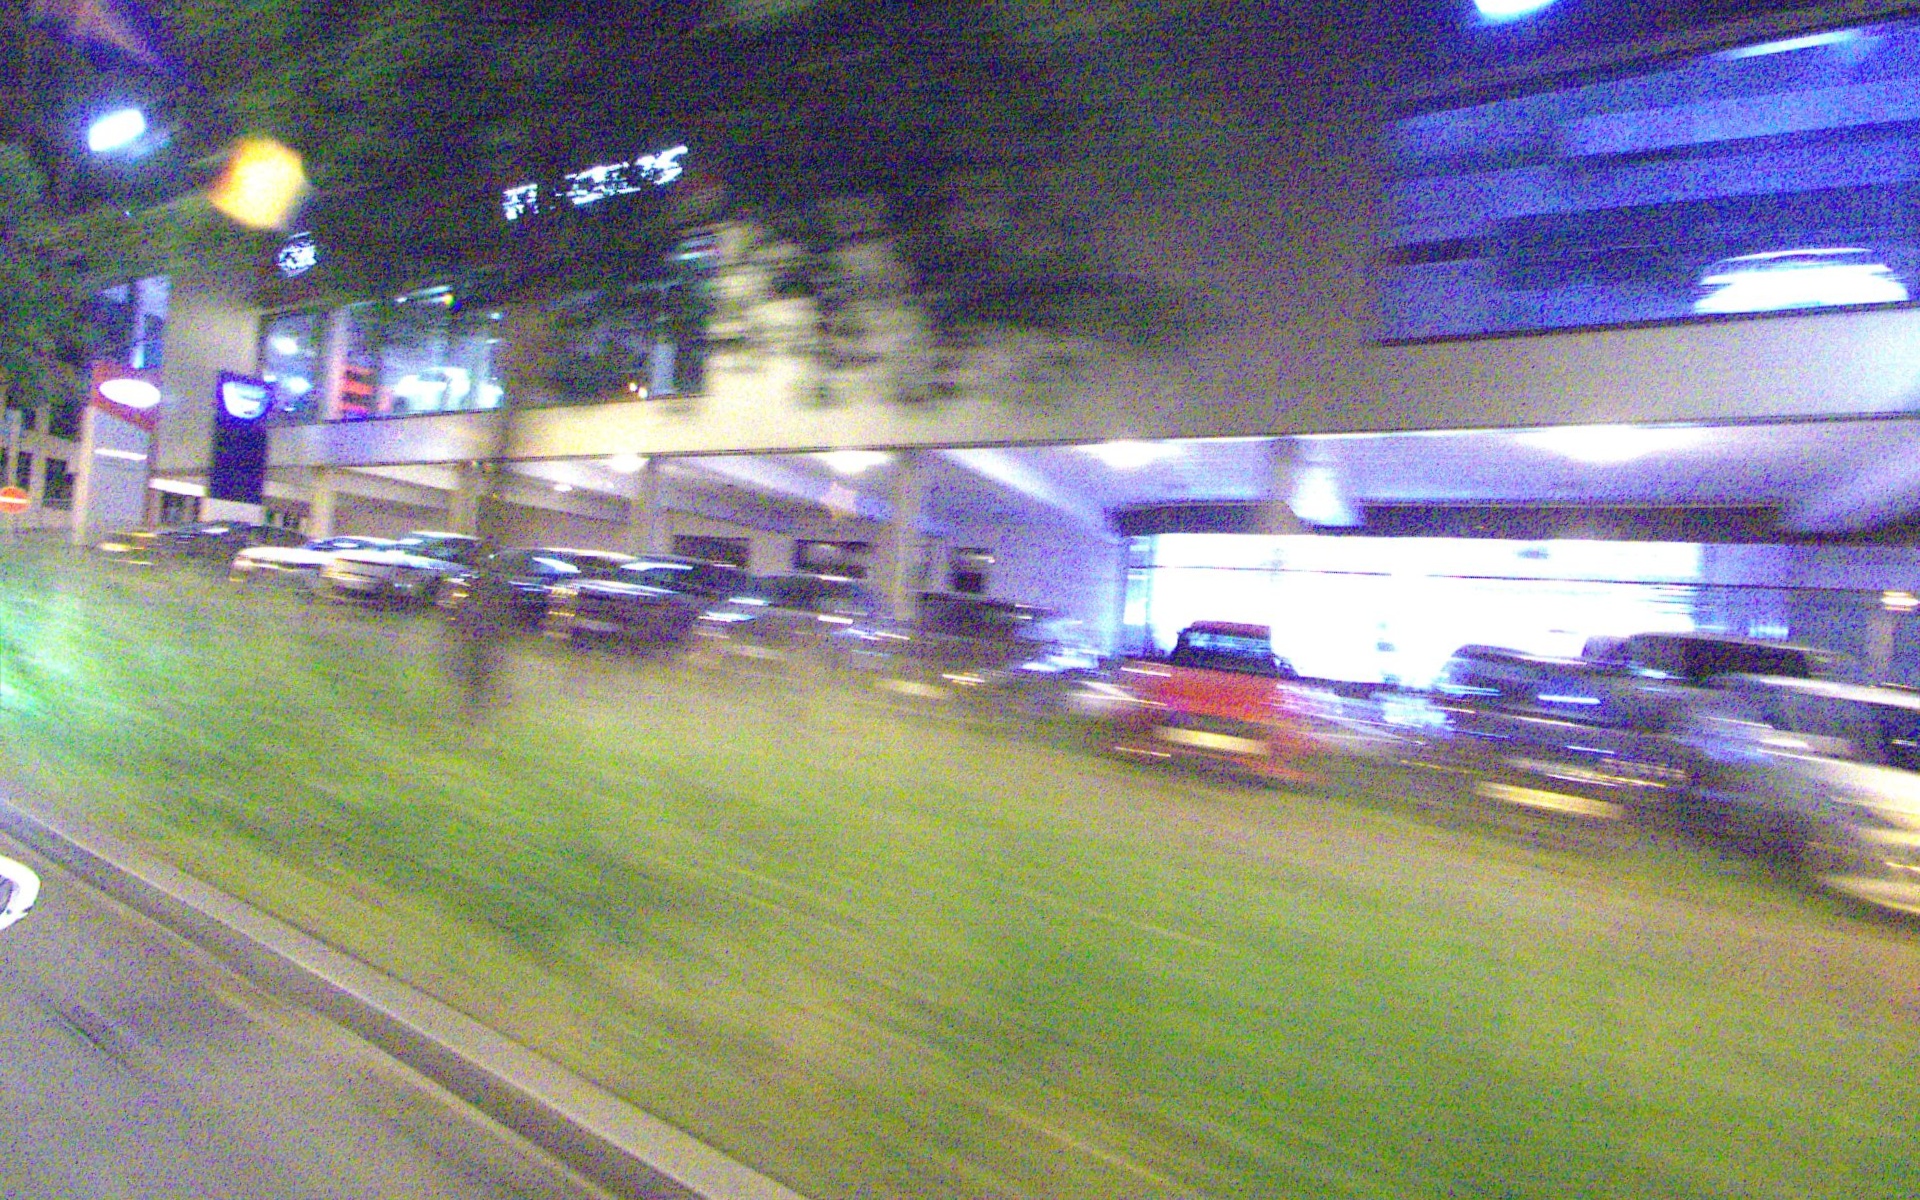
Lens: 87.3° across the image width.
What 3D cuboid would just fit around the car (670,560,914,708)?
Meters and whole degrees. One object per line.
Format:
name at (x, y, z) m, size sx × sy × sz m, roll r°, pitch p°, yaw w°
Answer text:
car at (-1.975, 0.389, 13.129) m, size 1.791 × 1.409 × 4.000 m, roll 7°, pitch 1°, yaw 10°

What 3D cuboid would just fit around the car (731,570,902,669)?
car at (-2.775, 0.384, 19.540) m, size 3.021 × 1.504 × 1.319 m, roll 7°, pitch -1°, yaw -9°

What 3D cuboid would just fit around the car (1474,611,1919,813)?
car at (9.561, 1.397, 13.072) m, size 4.742 × 1.940 × 1.835 m, roll 7°, pitch -1°, yaw -5°

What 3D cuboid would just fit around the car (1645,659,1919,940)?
car at (6.902, 1.369, 7.617) m, size 1.685 × 1.472 × 3.811 m, roll 6°, pitch 2°, yaw 18°

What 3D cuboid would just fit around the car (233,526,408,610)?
car at (-20.550, -1.039, 32.291) m, size 5.528 × 2.037 × 1.999 m, roll 6°, pitch -1°, yaw 26°

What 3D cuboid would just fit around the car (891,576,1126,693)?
car at (0.782, 0.582, 17.335) m, size 3.725 × 1.482 × 1.626 m, roll 7°, pitch 0°, yaw -2°

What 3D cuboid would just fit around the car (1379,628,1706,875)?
car at (4.874, 1.112, 9.013) m, size 1.684 × 1.398 × 3.774 m, roll 6°, pitch 3°, yaw 19°

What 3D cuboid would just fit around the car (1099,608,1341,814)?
car at (2.654, 0.904, 10.194) m, size 1.791 × 1.392 × 4.032 m, roll 6°, pitch 3°, yaw 16°

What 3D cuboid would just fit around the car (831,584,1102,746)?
car at (0.277, 0.660, 11.874) m, size 1.775 × 1.399 × 3.996 m, roll 7°, pitch 1°, yaw 21°

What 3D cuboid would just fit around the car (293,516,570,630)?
car at (-8.795, -0.361, 17.177) m, size 1.873 × 1.441 × 4.003 m, roll 7°, pitch -1°, yaw 14°

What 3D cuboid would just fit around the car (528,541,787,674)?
car at (-4.196, 0.103, 14.698) m, size 1.798 × 1.489 × 3.999 m, roll 6°, pitch 1°, yaw 12°

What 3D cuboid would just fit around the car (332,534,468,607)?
car at (-19.505, -1.044, 35.026) m, size 4.330 × 2.017 × 1.816 m, roll 6°, pitch -1°, yaw 25°

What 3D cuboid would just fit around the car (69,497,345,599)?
car at (-15.313, -0.993, 20.764) m, size 1.841 × 1.436 × 4.139 m, roll 6°, pitch -2°, yaw 18°

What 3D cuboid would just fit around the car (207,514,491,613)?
car at (-11.019, -0.571, 18.654) m, size 1.910 × 1.279 × 4.648 m, roll 7°, pitch -1°, yaw 7°

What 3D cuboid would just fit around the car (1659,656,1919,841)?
car at (10.147, 1.634, 10.799) m, size 3.931 × 1.550 × 1.989 m, roll 6°, pitch 1°, yaw -9°

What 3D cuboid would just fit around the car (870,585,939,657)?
car at (-1.624, 0.599, 28.320) m, size 1.628 × 1.673 × 4.320 m, roll 7°, pitch -2°, yaw -5°

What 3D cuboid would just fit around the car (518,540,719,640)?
car at (-7.324, -0.179, 21.899) m, size 3.802 × 1.818 × 1.587 m, roll 4°, pitch -1°, yaw -9°

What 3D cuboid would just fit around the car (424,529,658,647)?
car at (-6.373, -0.088, 15.770) m, size 1.648 × 1.450 × 3.617 m, roll 6°, pitch -2°, yaw 8°
